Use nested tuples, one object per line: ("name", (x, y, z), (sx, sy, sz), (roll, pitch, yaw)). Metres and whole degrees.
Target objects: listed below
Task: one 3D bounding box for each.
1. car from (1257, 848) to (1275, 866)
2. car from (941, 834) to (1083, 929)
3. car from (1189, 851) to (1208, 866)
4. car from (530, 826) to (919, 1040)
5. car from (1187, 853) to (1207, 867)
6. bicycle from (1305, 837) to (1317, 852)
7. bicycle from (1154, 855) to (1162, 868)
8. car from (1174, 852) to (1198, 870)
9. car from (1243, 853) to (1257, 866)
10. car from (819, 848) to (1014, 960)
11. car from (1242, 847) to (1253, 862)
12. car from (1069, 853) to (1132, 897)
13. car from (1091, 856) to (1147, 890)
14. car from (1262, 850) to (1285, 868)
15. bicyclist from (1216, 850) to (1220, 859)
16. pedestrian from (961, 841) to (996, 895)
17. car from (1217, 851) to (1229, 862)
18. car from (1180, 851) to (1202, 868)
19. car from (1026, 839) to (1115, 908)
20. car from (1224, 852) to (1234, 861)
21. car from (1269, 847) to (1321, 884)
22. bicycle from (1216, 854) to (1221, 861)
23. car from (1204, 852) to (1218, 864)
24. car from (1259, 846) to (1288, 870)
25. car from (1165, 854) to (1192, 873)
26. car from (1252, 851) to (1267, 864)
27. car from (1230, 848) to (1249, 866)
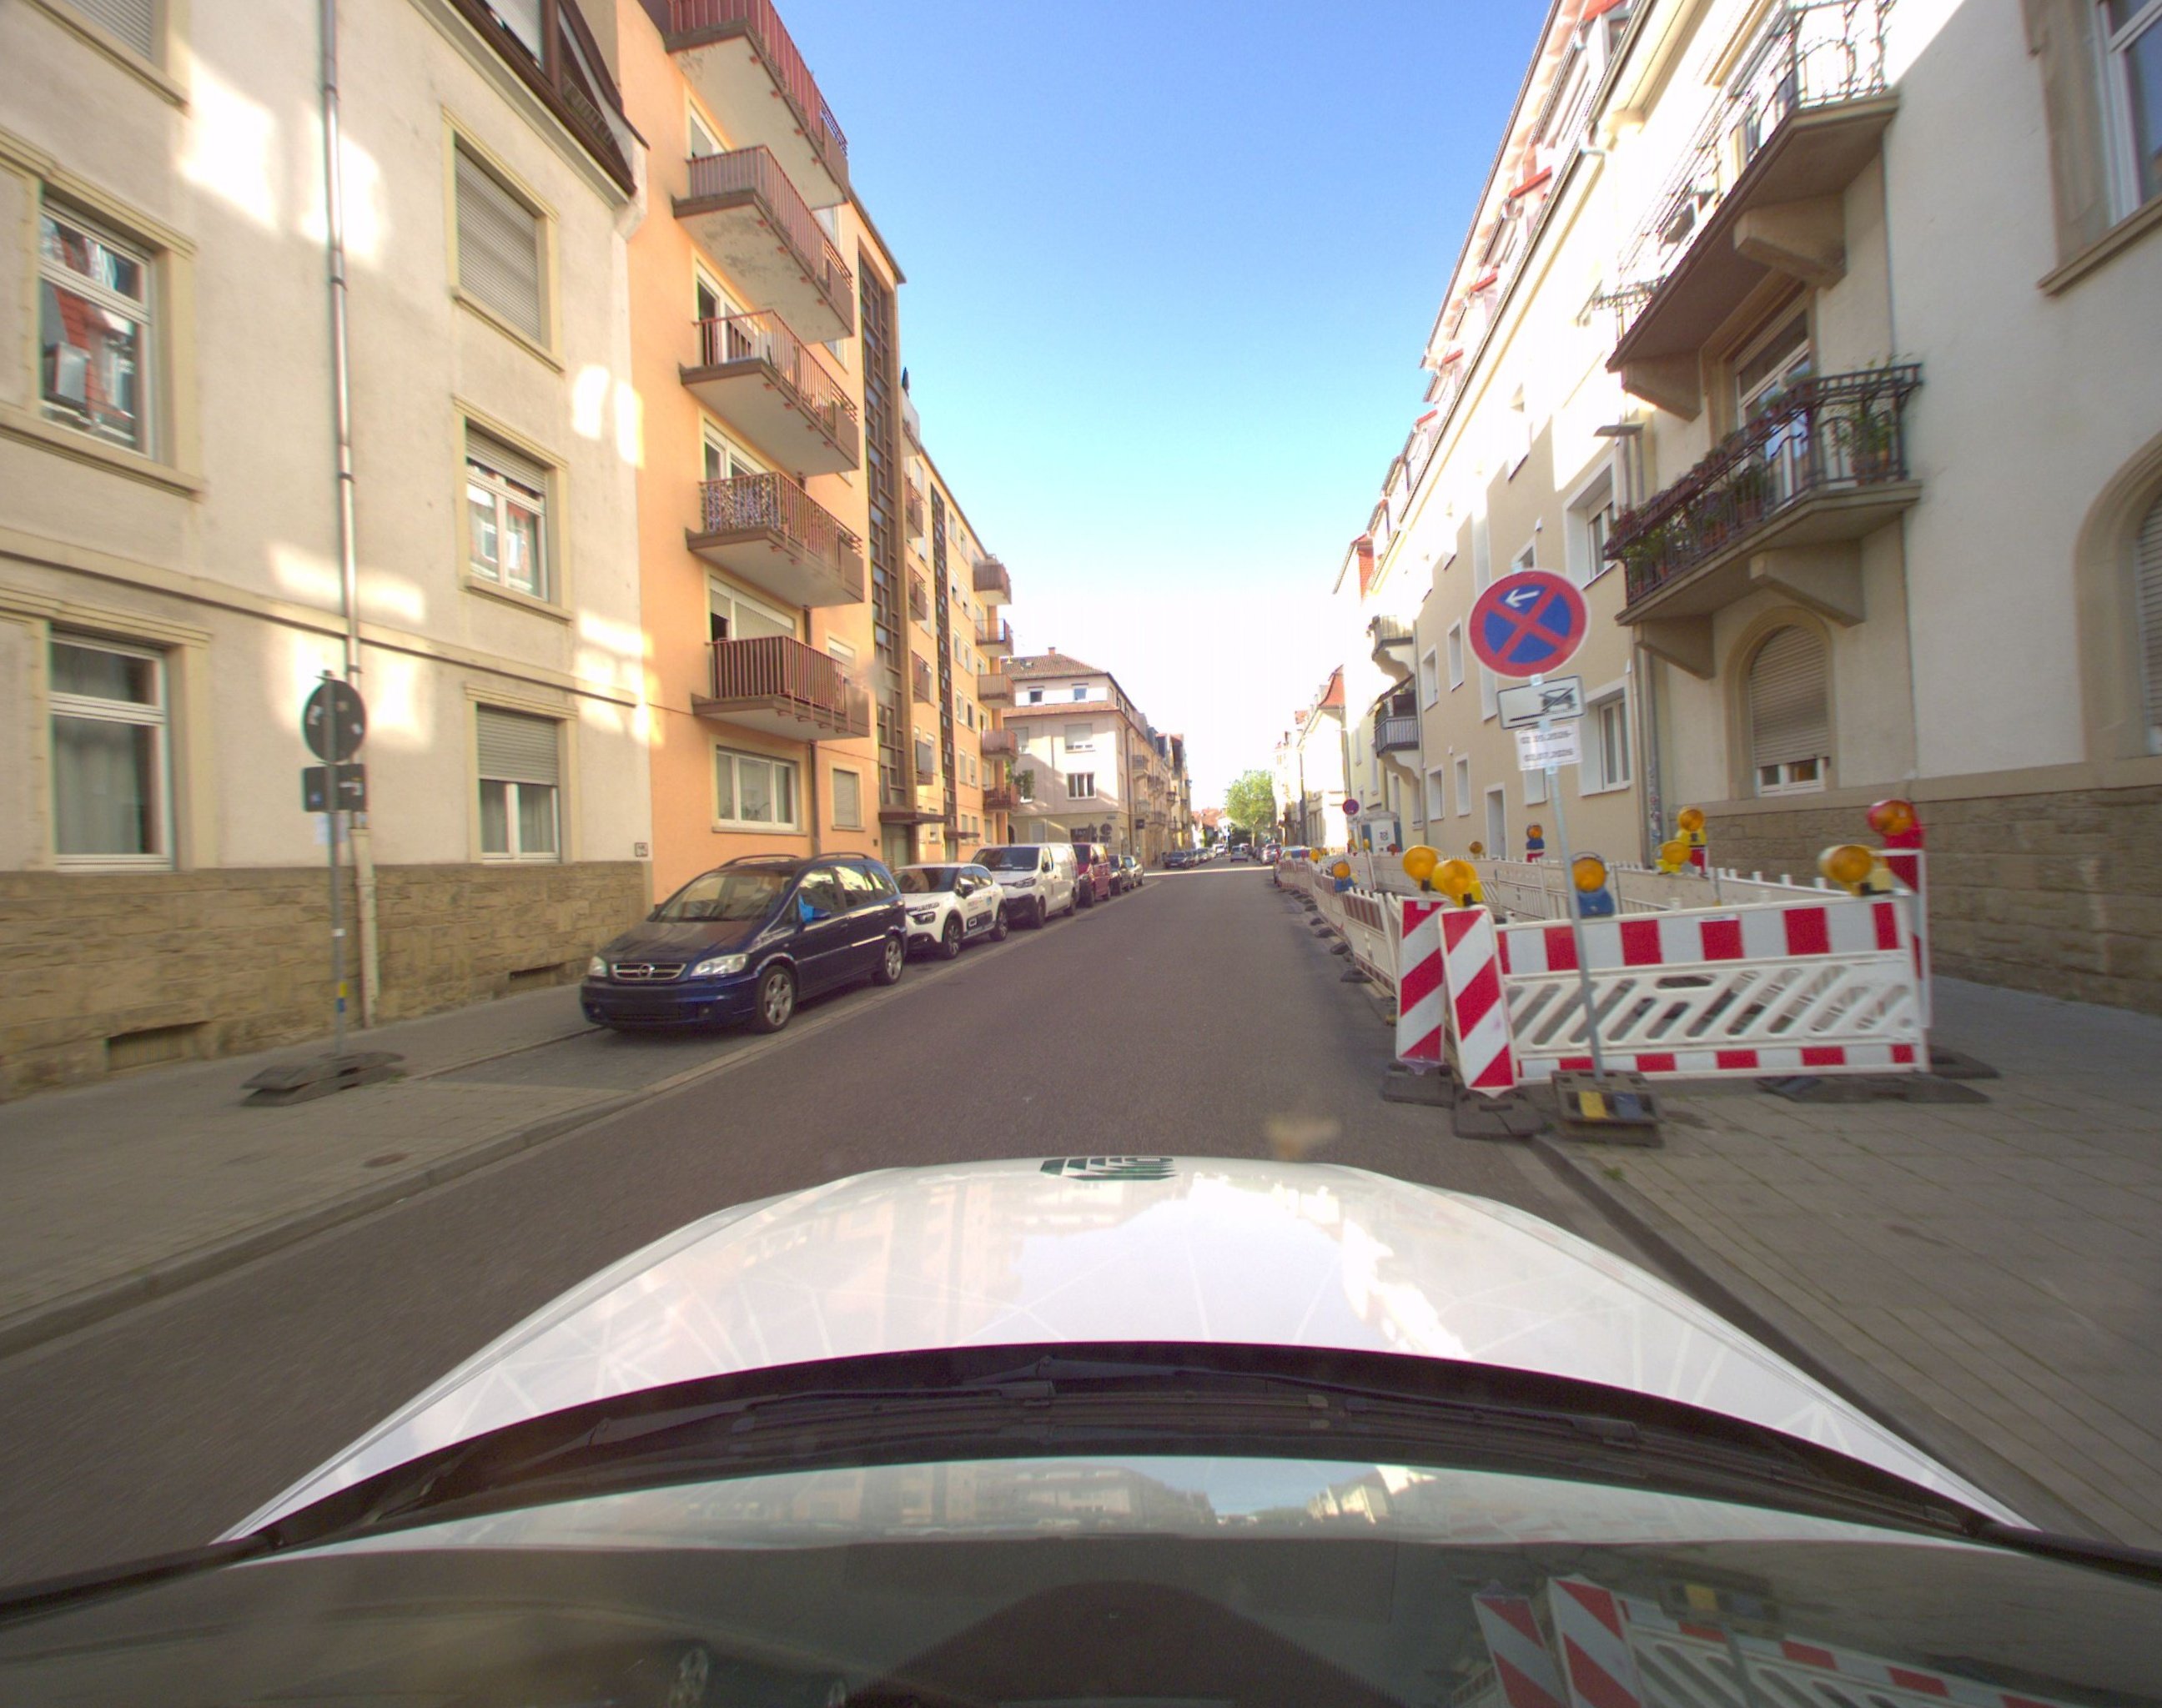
("car", (20.427, 0.313, 90.233), (1.826, 1.787, 4.041), (-3, -2, 12))
("car", (-1.438, 0.580, 19.539), (1.963, 1.925, 5.325), (-1, 0, 11))
("car", (13.639, 0.539, 94.514), (1.991, 1.619, 4.500), (0, -1, 10))
("car", (-3.480, 0.673, 9.013), (1.751, 1.771, 4.307), (-1, 0, 11))
("car", (12.812, 0.681, 89.861), (1.966, 1.482, 4.340), (0, -1, 10))
("bicycle", (19.878, -0.785, 70.422), (0.756, 1.246, 2.600), (-2, 0, 11))
("bicycle", (7.509, 0.716, 79.646), (0.537, 1.301, 1.873), (-1, 0, 12))
("car", (9.580, 0.668, 74.089), (1.991, 1.582, 4.500), (0, -1, 10))
("car", (26.770, 0.948, 129.054), (1.991, 2.000, 4.500), (0, -1, 10))
("car", (-2.600, 0.737, 14.034), (1.751, 1.621, 4.308), (-1, 0, 11))
("car", (30.111, 0.049, 147.082), (1.826, 2.534, 4.189), (-3, -2, 12))
("car", (0.818, 0.759, 31.208), (1.752, 1.502, 4.011), (-3, 0, 10))
("car", (1.752, 0.788, 36.336), (1.751, 1.377, 4.493), (-1, 0, 12))
("car", (17.036, 0.466, 72.304), (1.826, 1.431, 4.041), (-3, -2, 12))
("bicyclist", (22.662, 0.030, 134.614), (0.658, 1.385, 0.756), (-4, -2, 10))
("pedestrian", (-3.513, 0.481, 28.046), (0.918, 1.817, 0.997), (-1, -1, 8))
("car", (25.183, 0.458, 144.293), (1.991, 2.000, 4.500), (0, -1, 10))
("car", (11.016, 0.575, 81.309), (1.991, 1.619, 4.500), (0, -1, 10))
("car", (-0.208, 0.546, 25.585), (1.751, 1.925, 4.950), (-1, 0, 11))
("car", (31.404, 0.608, 173.043), (1.991, 1.817, 4.500), (0, -1, 10))
("car", (9.776, 0.508, 37.394), (1.753, 1.471, 4.094), (-5, -1, 8))
("bicycle", (22.679, 0.574, 134.596), (0.658, 1.019, 2.072), (-4, -1, 10))
("car", (19.176, 0.601, 120.018), (1.991, 1.605, 4.500), (0, -1, 10))
("car", (14.575, 0.328, 61.625), (1.900, 1.645, 4.790), (-4, -2, 13))
("car", (7.609, 0.710, 63.387), (1.668, 1.426, 4.289), (0, -1, 13))
("car", (23.868, 0.492, 108.715), (1.826, 1.431, 4.041), (-3, -2, 12))
("car", (17.281, 0.333, 88.904), (1.990, 1.914, 4.501), (0, -1, 11))
